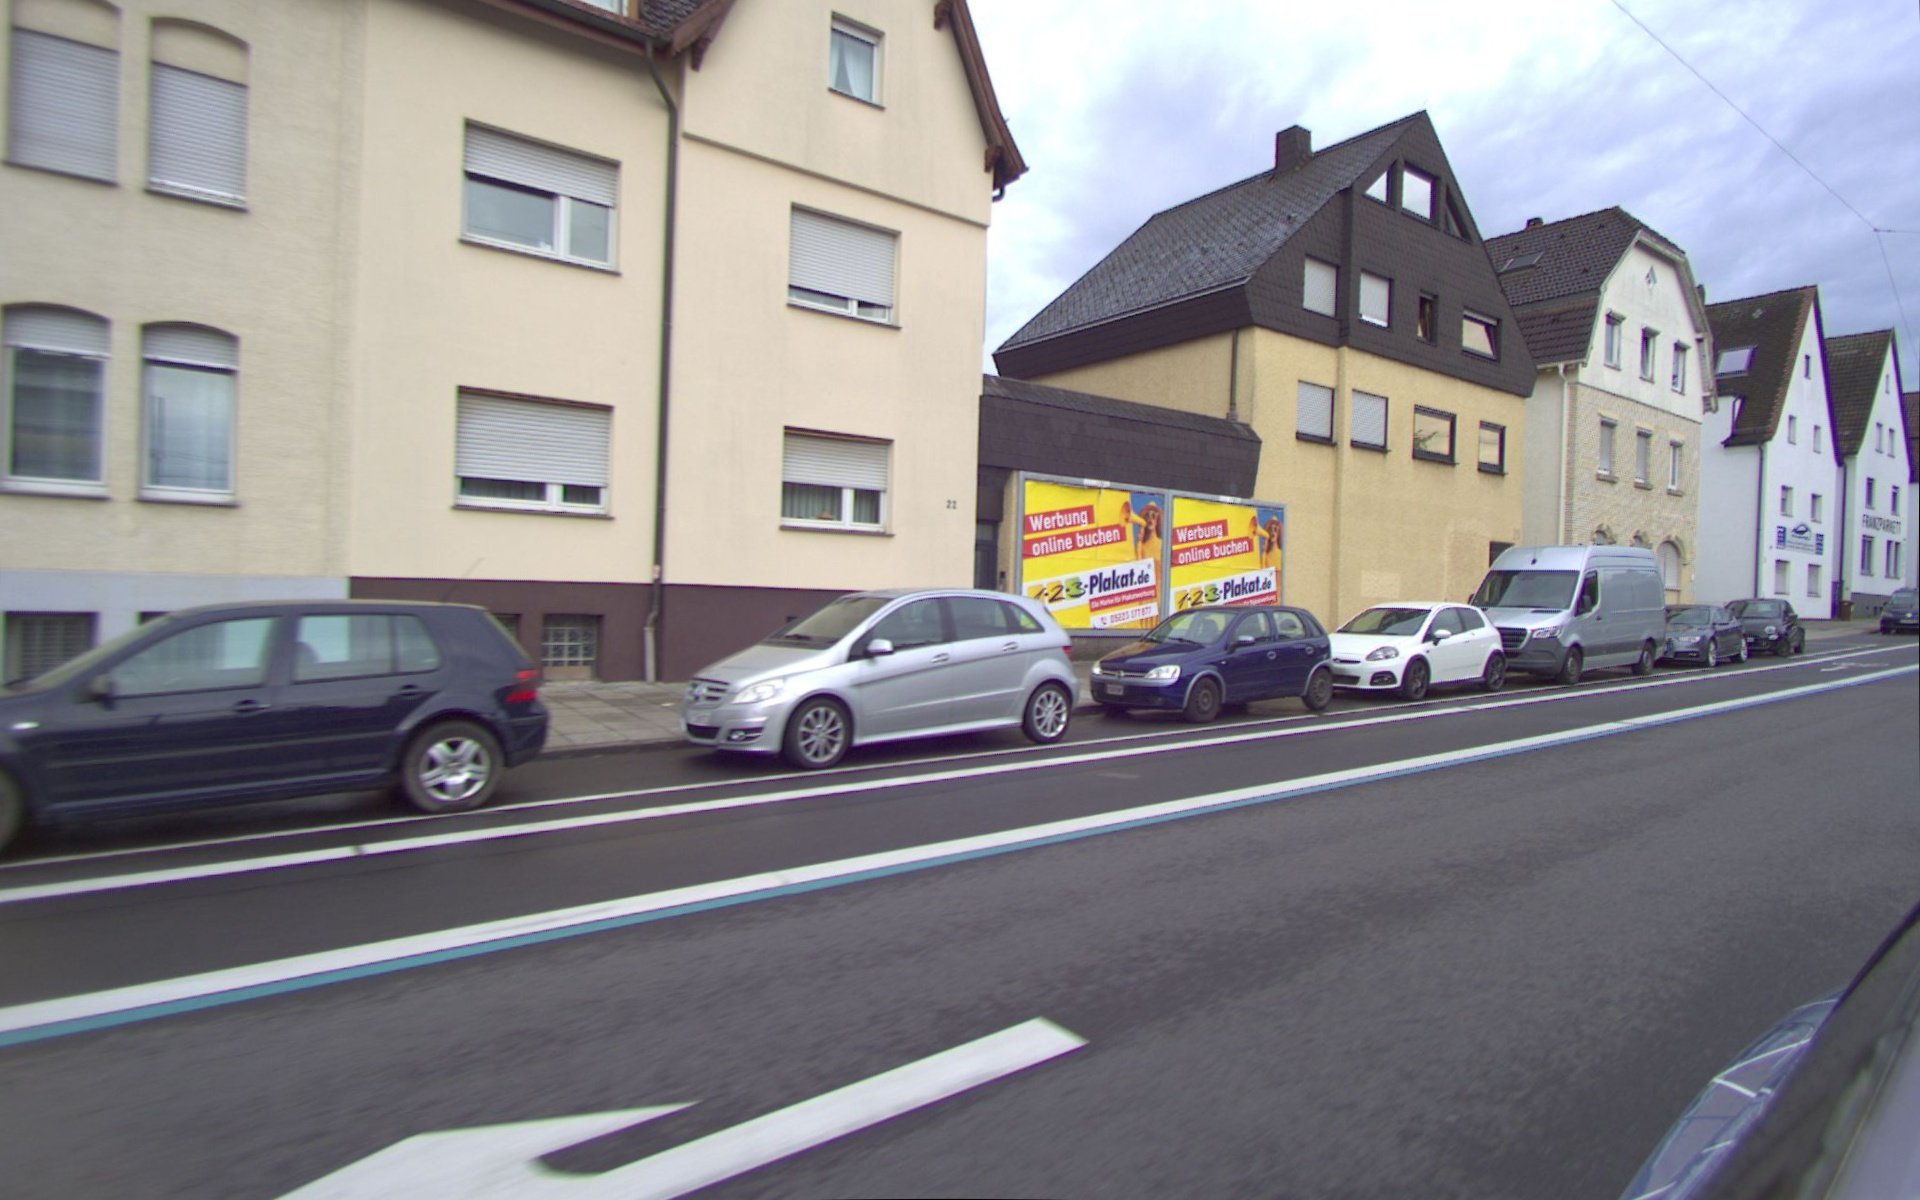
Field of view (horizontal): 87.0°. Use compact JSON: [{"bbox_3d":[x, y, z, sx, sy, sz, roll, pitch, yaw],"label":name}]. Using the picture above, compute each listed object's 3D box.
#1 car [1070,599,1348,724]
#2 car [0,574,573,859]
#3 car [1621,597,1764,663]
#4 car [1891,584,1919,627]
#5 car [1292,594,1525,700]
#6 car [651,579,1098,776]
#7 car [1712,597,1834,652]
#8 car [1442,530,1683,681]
[{"bbox_3d":[3.357,0.707,13.375,3.721,1.419,1.605,0,0,-37],"label":"car"},{"bbox_3d":[-4.888,0.624,6.692,4.060,1.531,1.691,0,0,-37],"label":"car"},{"bbox_3d":[17.094,0.640,23.550,4.011,1.362,1.726,-1,0,-39],"label":"car"},{"bbox_3d":[36.594,0.195,37.923,4.122,1.567,1.727,-1,0,-36],"label":"car"},{"bbox_3d":[7.209,0.653,16.127,4.123,1.483,1.605,0,0,-37],"label":"car"},{"bbox_3d":[-0.724,0.601,10.112,4.203,1.586,1.706,-1,0,-37],"label":"car"},{"bbox_3d":[21.974,0.603,27.303,4.125,1.362,1.726,-1,0,-39],"label":"car"},{"bbox_3d":[11.738,0.063,19.515,5.813,2.530,2.045,-1,0,-38],"label":"car"}]
